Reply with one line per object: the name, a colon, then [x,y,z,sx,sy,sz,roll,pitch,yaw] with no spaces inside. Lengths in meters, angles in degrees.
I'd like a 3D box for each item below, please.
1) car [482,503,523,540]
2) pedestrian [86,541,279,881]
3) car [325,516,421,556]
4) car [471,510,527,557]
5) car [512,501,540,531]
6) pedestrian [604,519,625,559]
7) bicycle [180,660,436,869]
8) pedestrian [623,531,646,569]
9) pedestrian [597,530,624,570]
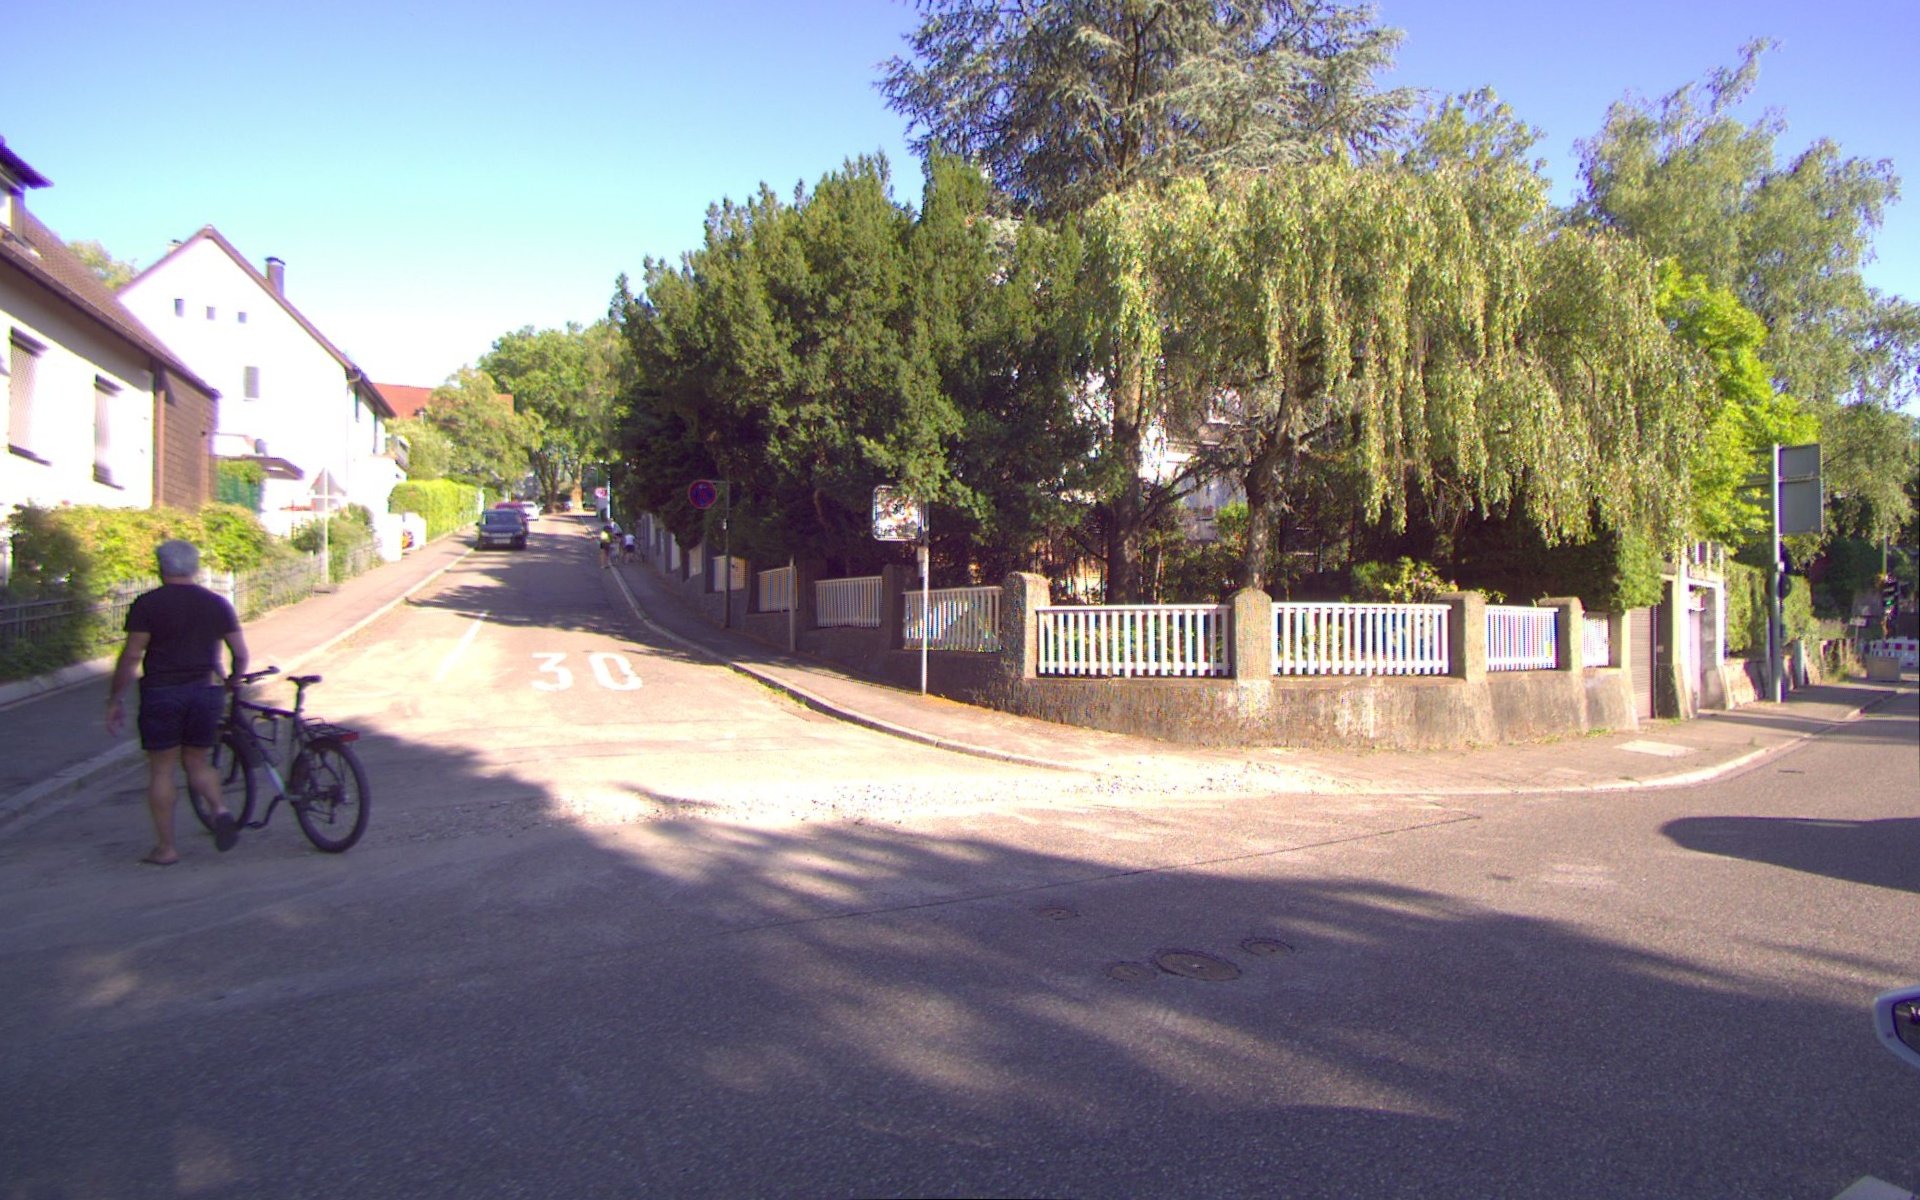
car: [-25.228,-4.290,55.503,1.972,1.729,3.976,1,1,-24]
pedestrian: [-4.569,0.596,5.904,0.926,1.850,0.554,1,1,27]
car: [-21.369,-2.305,36.668,2.850,1.238,1.473,2,0,-25]
car: [-20.086,-2.938,43.705,1.975,1.729,3.970,1,6,-28]
car: [-35.007,-6.781,81.127,1.971,2.040,3.978,1,0,-22]
pedestrian: [-14.907,-2.606,43.363,0.766,1.664,0.688,1,1,-27]
bicycle: [-4.113,0.964,6.307,1.785,1.057,0.560,1,2,29]
pedestrian: [-12.567,-1.915,38.738,0.763,1.389,0.567,1,0,-26]
pedestrian: [-12.849,-1.825,36.905,0.768,1.389,0.563,1,1,-44]
